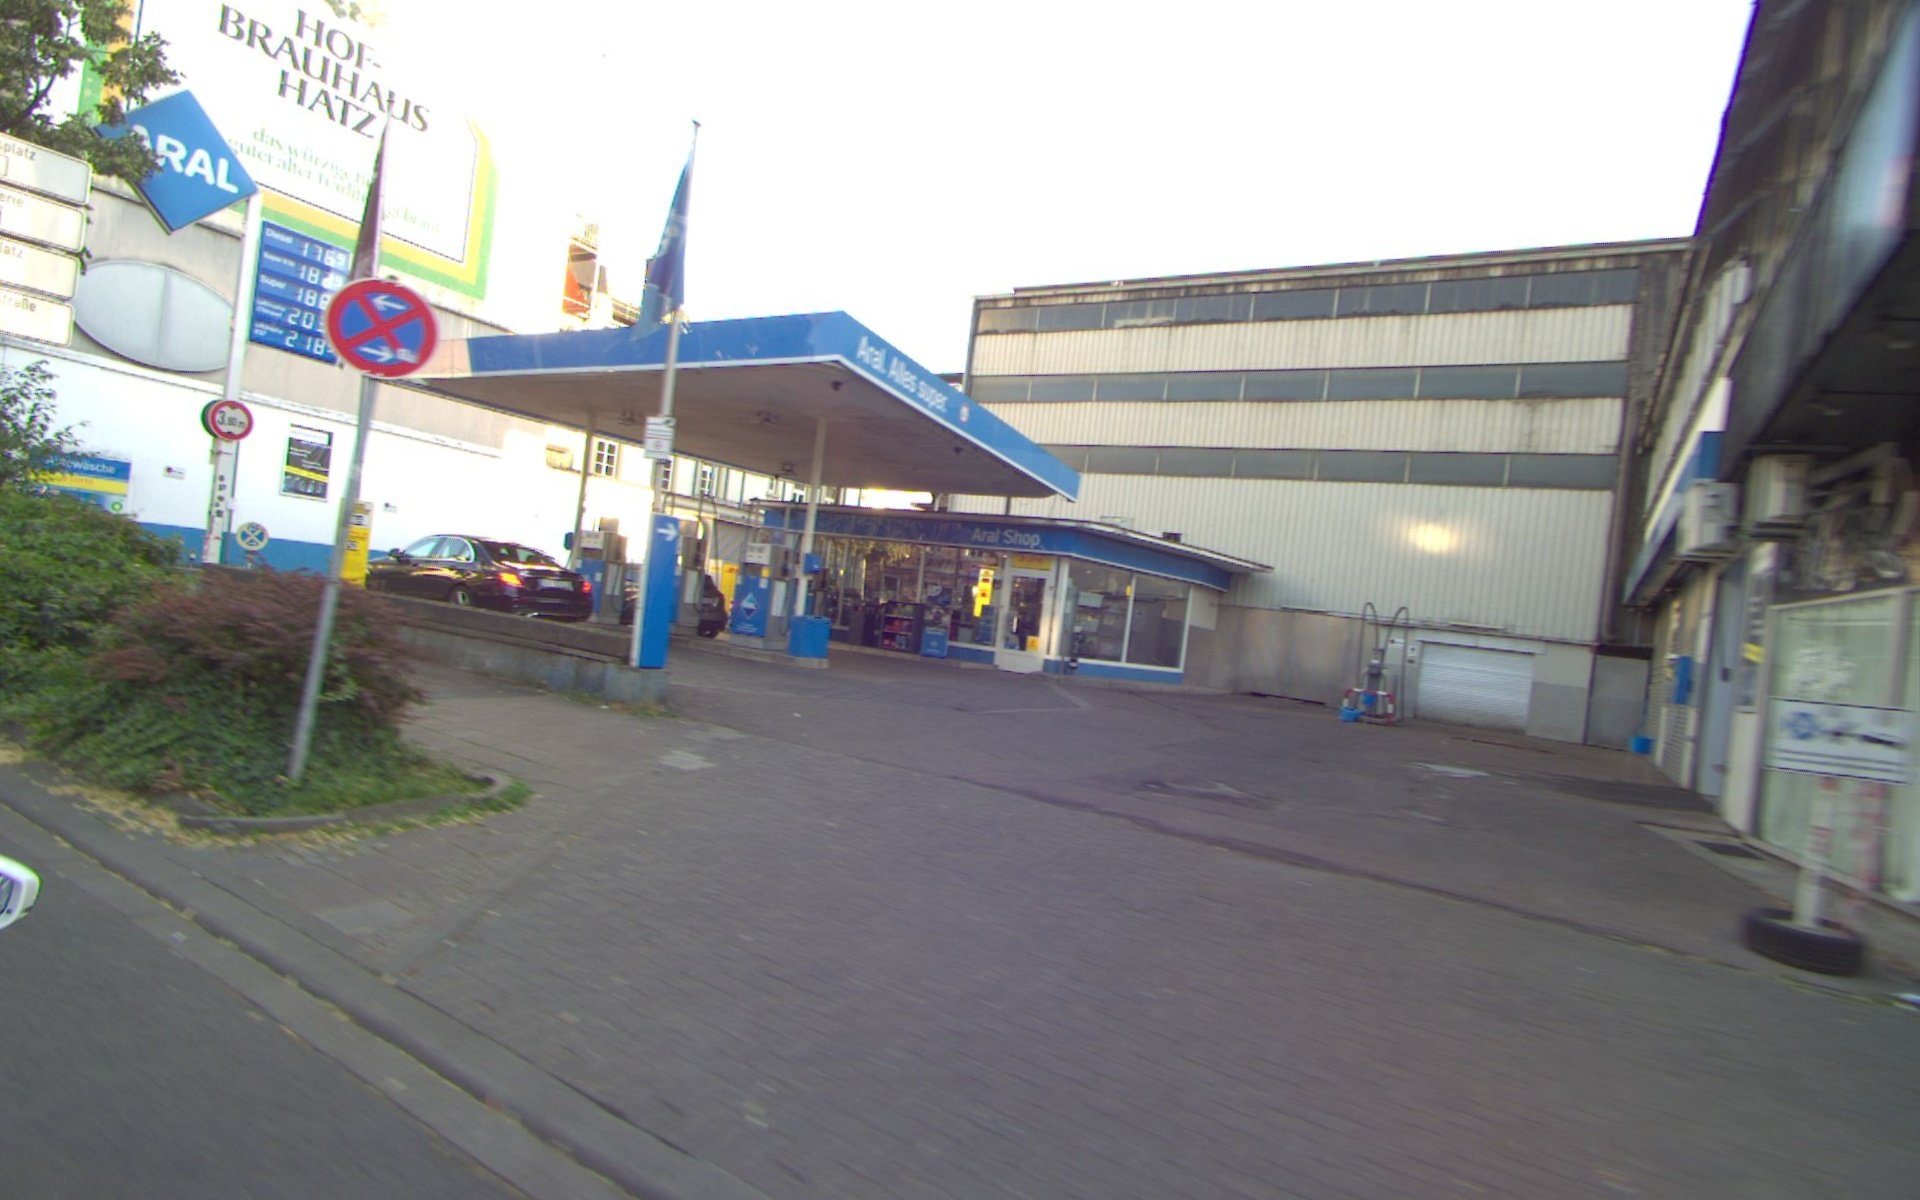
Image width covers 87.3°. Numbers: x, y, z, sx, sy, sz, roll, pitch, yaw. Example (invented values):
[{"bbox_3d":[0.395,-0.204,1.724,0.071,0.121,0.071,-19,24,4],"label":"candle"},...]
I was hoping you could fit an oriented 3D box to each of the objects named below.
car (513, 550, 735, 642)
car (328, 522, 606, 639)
[{"bbox_3d":[-7.055,-0.105,20.937,4.681,1.419,1.712,6,0,32],"label":"car"},{"bbox_3d":[-8.176,-0.349,16.538,4.828,1.448,1.736,6,0,32],"label":"car"}]
